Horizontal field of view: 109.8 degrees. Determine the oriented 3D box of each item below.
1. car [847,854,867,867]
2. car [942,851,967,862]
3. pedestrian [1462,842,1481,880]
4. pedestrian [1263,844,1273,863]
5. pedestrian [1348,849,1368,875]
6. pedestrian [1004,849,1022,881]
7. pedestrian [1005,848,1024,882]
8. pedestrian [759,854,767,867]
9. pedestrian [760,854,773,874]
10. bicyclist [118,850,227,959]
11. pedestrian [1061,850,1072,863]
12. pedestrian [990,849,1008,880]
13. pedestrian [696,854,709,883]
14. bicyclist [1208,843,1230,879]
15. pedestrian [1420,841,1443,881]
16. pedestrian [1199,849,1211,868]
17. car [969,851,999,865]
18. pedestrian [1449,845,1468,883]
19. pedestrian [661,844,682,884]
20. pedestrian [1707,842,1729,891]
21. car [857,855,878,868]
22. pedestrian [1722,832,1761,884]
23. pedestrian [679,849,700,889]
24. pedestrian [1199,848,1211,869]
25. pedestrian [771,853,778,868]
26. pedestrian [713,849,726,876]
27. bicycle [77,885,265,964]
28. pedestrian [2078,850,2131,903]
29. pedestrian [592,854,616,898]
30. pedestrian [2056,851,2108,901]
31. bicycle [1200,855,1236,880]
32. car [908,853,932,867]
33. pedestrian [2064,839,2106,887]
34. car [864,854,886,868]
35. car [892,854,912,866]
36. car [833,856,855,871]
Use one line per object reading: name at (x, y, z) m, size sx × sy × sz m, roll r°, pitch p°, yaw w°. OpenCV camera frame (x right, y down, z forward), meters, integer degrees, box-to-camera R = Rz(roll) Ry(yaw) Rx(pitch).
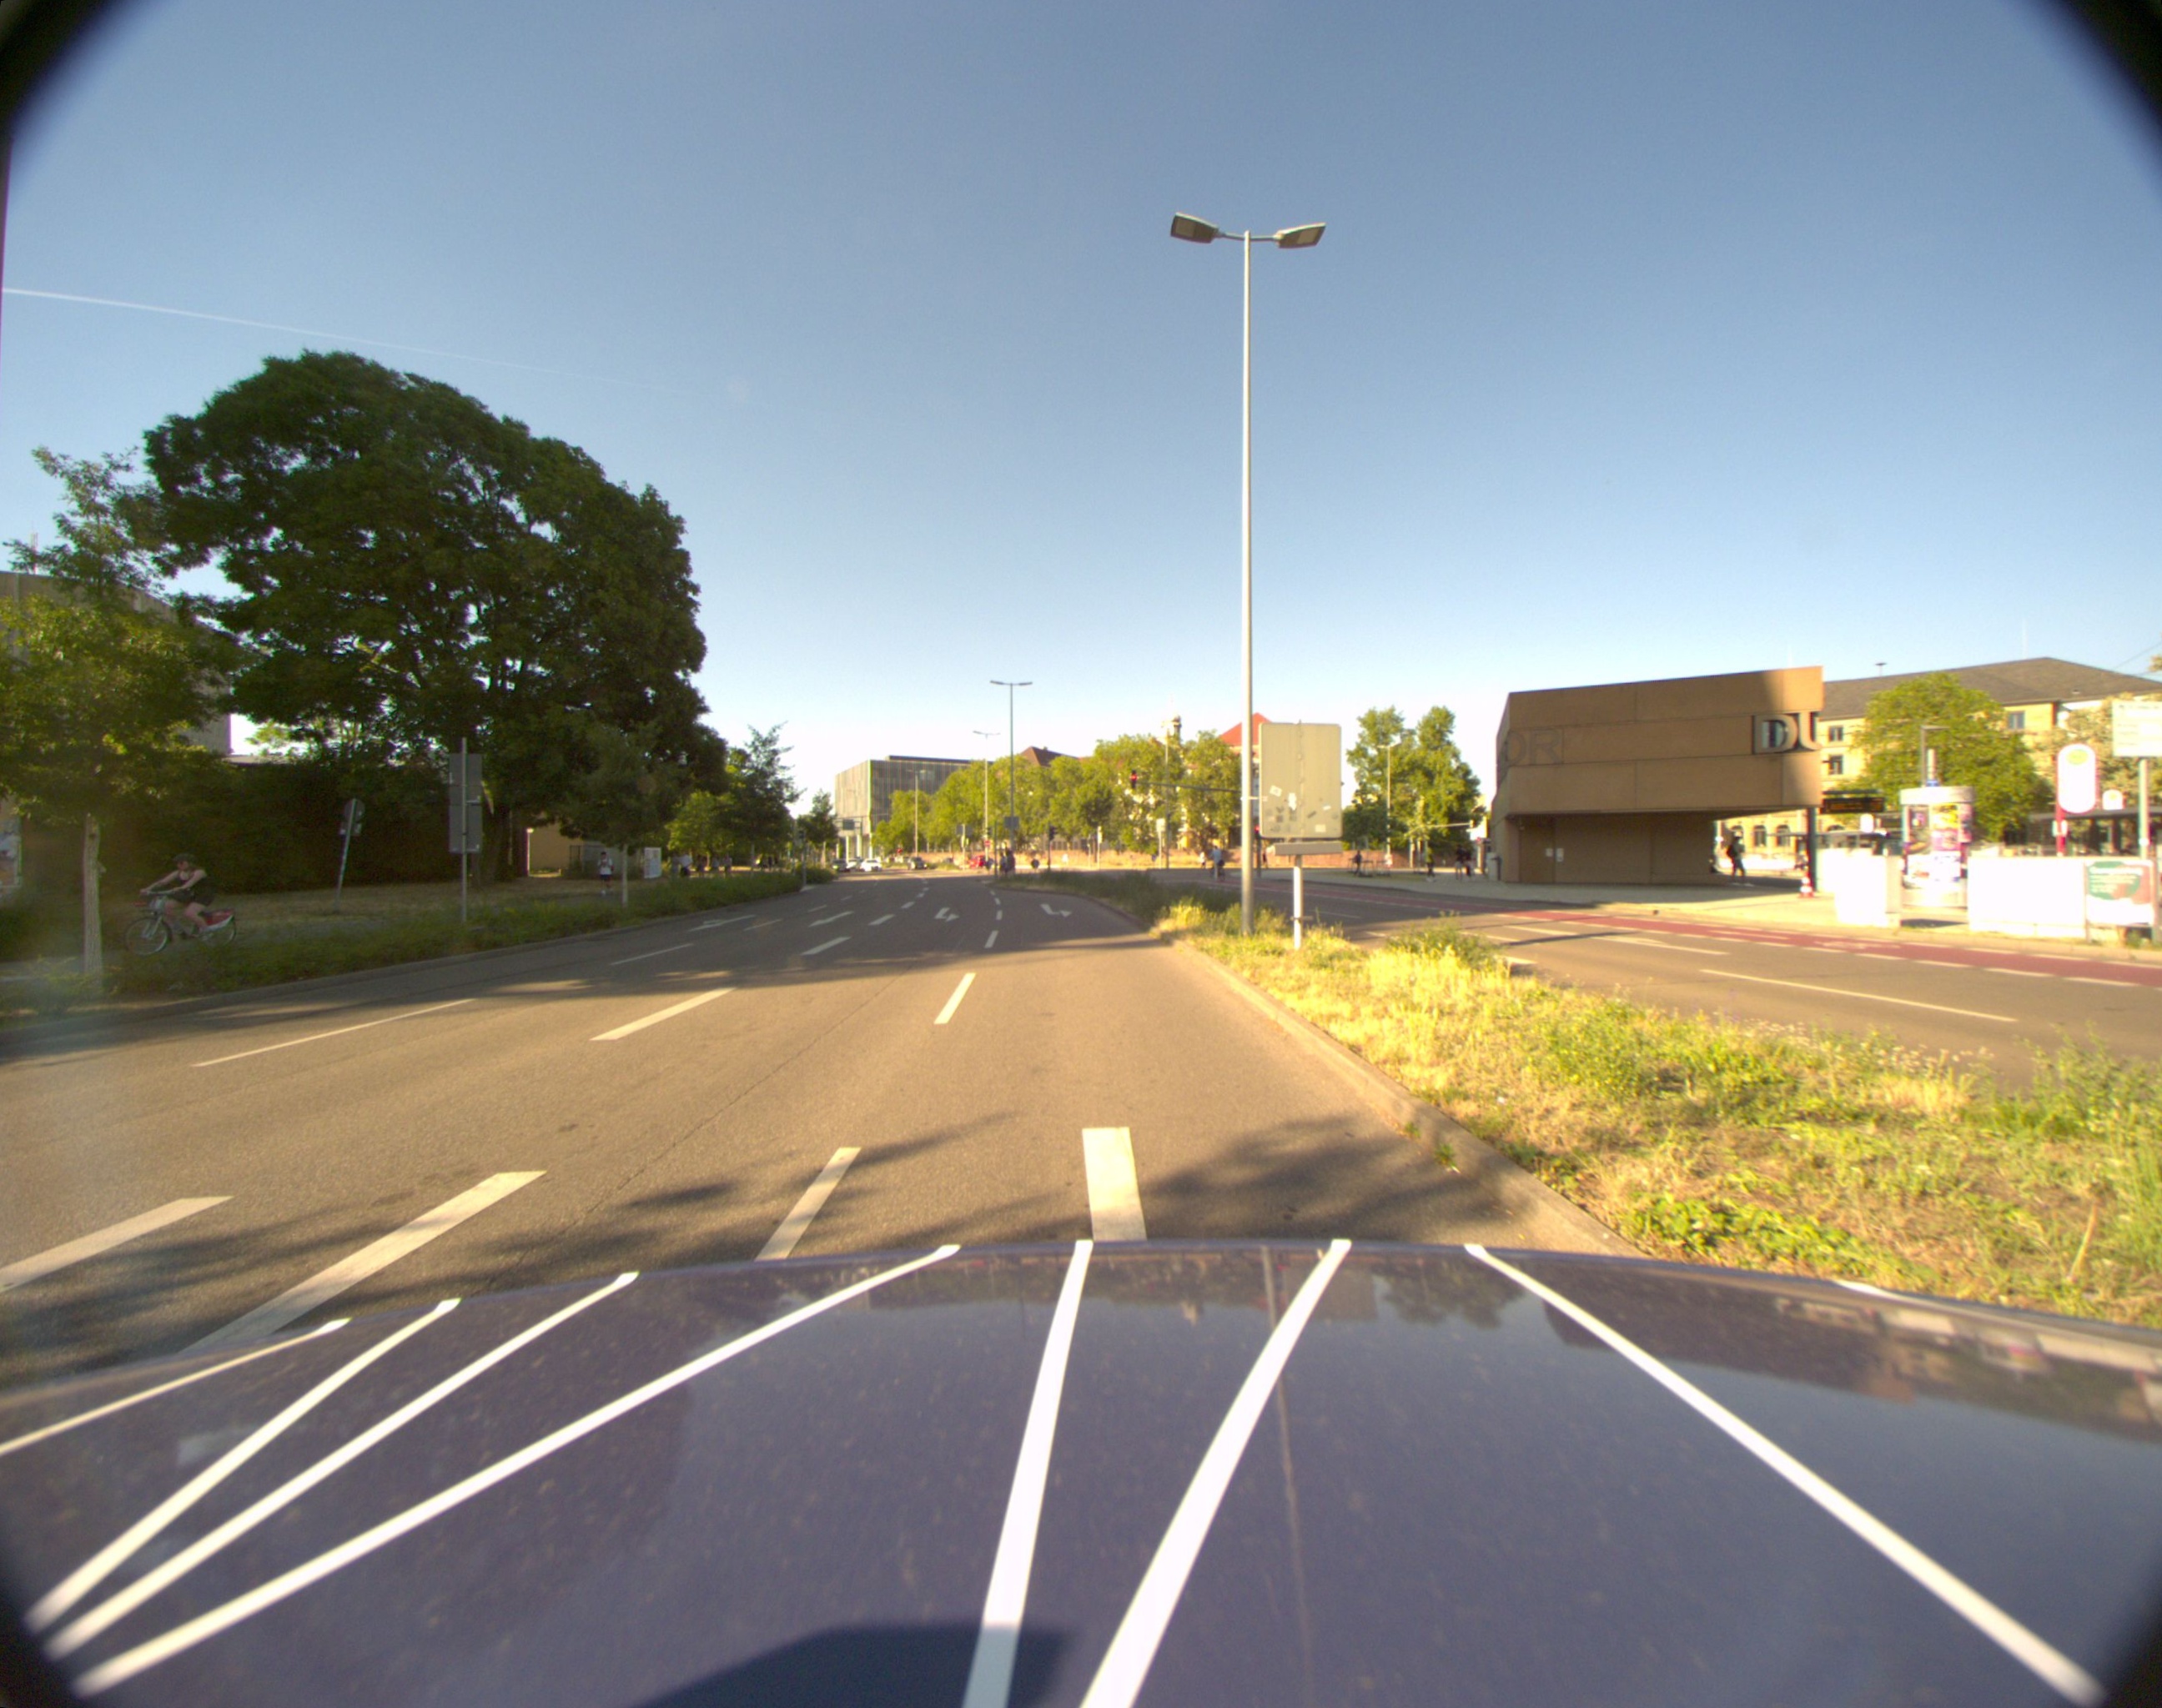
car at (-28.013, 0.804, 94.995) m, size 1.927 × 1.510 × 4.010 m, roll 0°, pitch 0°, yaw -22°
car at (-17.434, 0.333, 104.450) m, size 2.198 × 1.576 × 4.597 m, roll -1°, pitch 0°, yaw -24°
pedestrian at (17.959, 0.310, 34.960) m, size 0.734 × 1.720 × 0.666 m, roll -2°, pitch -1°, yaw 25°
pedestrian at (17.001, -0.055, 69.143) m, size 0.791 × 1.644 × 0.713 m, roll 2°, pitch 4°, yaw 17°
pedestrian at (17.892, 0.501, 49.083) m, size 0.900 × 1.675 × 0.747 m, roll -1°, pitch 0°, yaw -10°
pedestrian at (-3.683, 0.589, 41.271) m, size 0.928 × 1.731 × 0.756 m, roll -1°, pitch 1°, yaw -10°
pedestrian at (-3.545, 0.576, 40.391) m, size 0.928 × 1.731 × 0.756 m, roll -1°, pitch 1°, yaw -10°
pedestrian at (-37.357, 0.728, 89.360) m, size 0.764 × 1.534 × 0.845 m, roll 0°, pitch 0°, yaw -31°
pedestrian at (-28.207, 0.917, 68.178) m, size 1.020 × 1.739 × 0.847 m, roll 0°, pitch 1°, yaw -31°
bicyclist at (-15.492, 0.836, 12.982) m, size 0.717 × 1.778 × 0.849 m, roll -2°, pitch 1°, yaw -1°
pedestrian at (-1.644, 0.323, 88.203) m, size 0.975 × 1.528 × 0.921 m, roll -1°, pitch 1°, yaw -25°
pedestrian at (-4.599, 0.591, 42.612) m, size 0.928 × 1.731 × 0.756 m, roll -1°, pitch 1°, yaw -10°
pedestrian at (-20.716, 0.779, 41.581) m, size 0.623 × 1.565 × 0.638 m, roll 0°, pitch 1°, yaw -25°
bicyclist at (7.261, 0.361, 39.966) m, size 0.743 × 1.822 × 1.012 m, roll -1°, pitch 1°, yaw -18°
pedestrian at (16.035, 0.316, 34.799) m, size 0.718 × 1.824 × 0.639 m, roll -1°, pitch -1°, yaw 1°
pedestrian at (11.576, 0.417, 70.893) m, size 0.873 × 1.665 × 0.711 m, roll 0°, pitch 4°, yaw -12°
car at (-11.043, 0.454, 86.100) m, size 2.198 × 1.576 × 4.597 m, roll -1°, pitch 0°, yaw -23°
pedestrian at (16.949, 0.436, 34.129) m, size 0.638 × 1.678 × 0.551 m, roll -2°, pitch -1°, yaw 14°
pedestrian at (-19.212, 0.475, 35.680) m, size 0.575 × 1.858 × 0.624 m, roll 0°, pitch 1°, yaw 26°
pedestrian at (26.457, 0.511, 31.567) m, size 0.613 × 2.001 × 0.809 m, roll -2°, pitch -1°, yaw 37°
car at (-25.066, 0.877, 88.995) m, size 1.927 × 1.510 × 4.010 m, roll 0°, pitch 0°, yaw -22°
pedestrian at (25.461, 0.158, 29.317) m, size 0.978 × 1.970 × 0.720 m, roll 1°, pitch 0°, yaw 26°
pedestrian at (-18.423, 0.709, 35.783) m, size 0.575 × 1.858 × 0.624 m, roll 0°, pitch 1°, yaw 26°
pedestrian at (11.710, 0.435, 71.741) m, size 0.873 × 1.884 × 0.711 m, roll 0°, pitch 4°, yaw -12°
pedestrian at (-34.881, 0.697, 86.424) m, size 0.713 × 1.703 × 0.732 m, roll 0°, pitch 1°, yaw -25°
pedestrian at (-22.732, 0.546, 47.737) m, size 0.677 × 1.694 × 0.875 m, roll -1°, pitch 1°, yaw -30°
bicycle at (-15.476, 1.159, 13.031) m, size 0.719 × 1.115 × 2.066 m, roll -2°, pitch 1°, yaw -1°
pedestrian at (39.237, 0.851, 29.143) m, size 0.978 × 1.970 × 0.720 m, roll 1°, pitch 0°, yaw 28°
pedestrian at (-18.536, 0.846, 29.560) m, size 0.623 × 1.689 × 0.629 m, roll 0°, pitch 1°, yaw -17°
pedestrian at (40.267, 0.863, 30.584) m, size 0.994 × 1.970 × 0.830 m, roll 1°, pitch 0°, yaw 28°
bicycle at (7.216, 0.683, 40.133) m, size 0.743 × 1.248 × 2.552 m, roll -1°, pitch 1°, yaw -18°
car at (-17.763, 0.678, 83.818) m, size 1.927 × 1.510 × 4.010 m, roll 0°, pitch 0°, yaw -22°
pedestrian at (42.532, 0.381, 32.187) m, size 0.814 × 1.970 × 0.756 m, roll 1°, pitch 0°, yaw 28°
car at (-22.293, 0.728, 82.209) m, size 1.805 × 1.510 × 4.423 m, roll 0°, pitch 0°, yaw -22°
car at (-27.658, 0.881, 117.191) m, size 2.198 × 1.673 × 4.598 m, roll -1°, pitch -1°, yaw -25°
car at (-24.913, 0.969, 79.797) m, size 1.805 × 1.510 × 3.992 m, roll 0°, pitch 0°, yaw -22°
